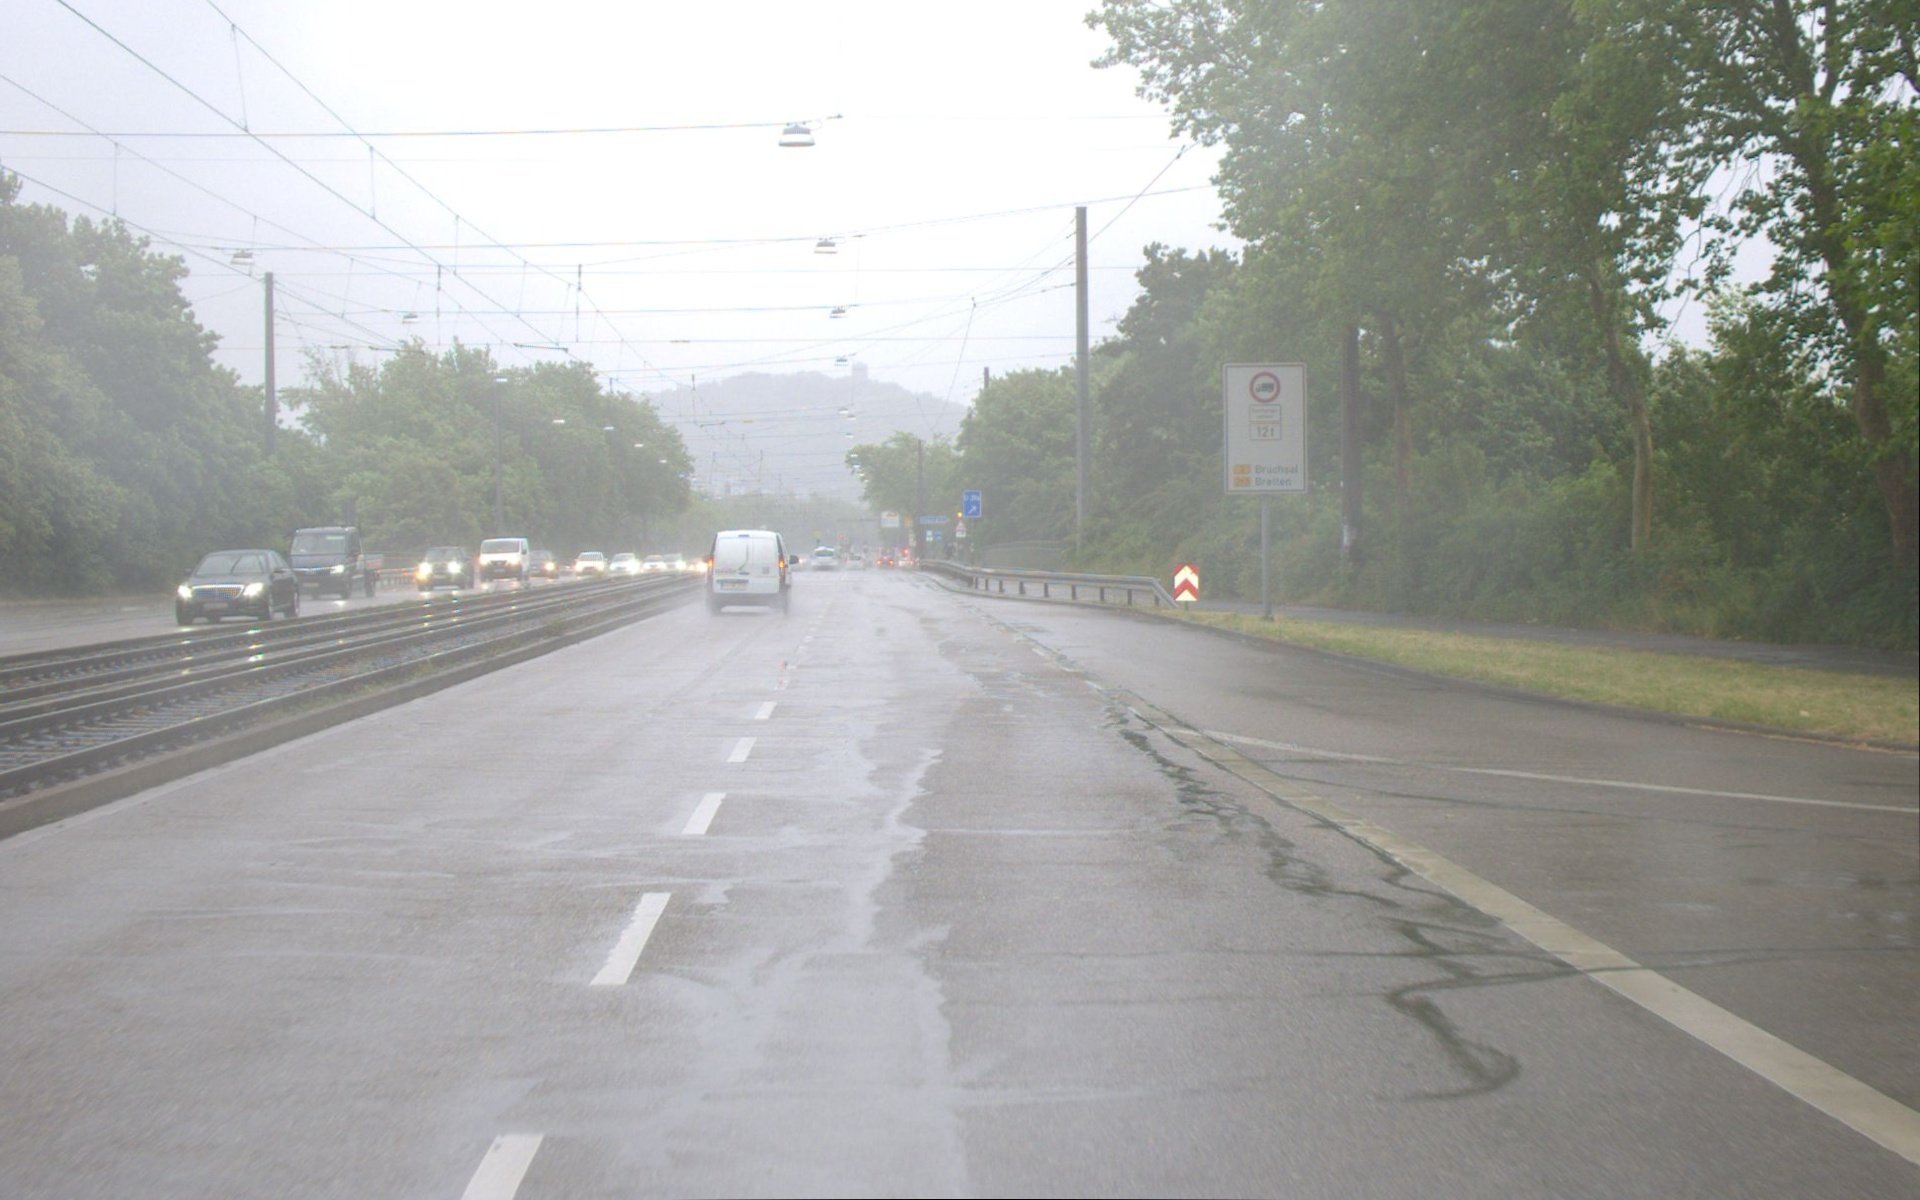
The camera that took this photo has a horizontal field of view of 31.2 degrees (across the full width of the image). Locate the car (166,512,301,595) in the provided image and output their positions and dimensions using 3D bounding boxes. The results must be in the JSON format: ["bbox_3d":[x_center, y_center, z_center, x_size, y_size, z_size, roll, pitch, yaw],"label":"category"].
[{"bbox_3d":[-15.156,-1.011,71.991,1.776,1.579,5.682,1,2,-2],"label":"car"}]

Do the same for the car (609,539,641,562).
[{"bbox_3d":[-22.518,-3.359,231.372,1.797,1.448,4.195,1,2,-1],"label":"car"}]

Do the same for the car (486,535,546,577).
[{"bbox_3d":[-20.015,-2.010,155.187,2.040,1.769,4.986,1,2,0],"label":"car"}]

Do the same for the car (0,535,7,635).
[{"bbox_3d":[-17.375,-0.174,56.618,1.819,1.700,6.106,1,2,-2],"label":"car"}]

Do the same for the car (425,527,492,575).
[{"bbox_3d":[-19.179,-1.886,131.504,1.841,1.711,4.163,1,2,1],"label":"car"}]

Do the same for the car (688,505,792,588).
[{"bbox_3d":[-4.709,-1.166,74.153,1.989,1.678,3.740,1,2,0],"label":"car"}]

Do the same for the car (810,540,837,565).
[{"bbox_3d":[-8.894,-3.091,224.487,1.743,1.503,3.700,1,2,-2],"label":"car"}]

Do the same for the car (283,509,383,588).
[{"bbox_3d":[-20.090,-1.698,110.415,2.099,2.335,6.991,1,2,-2],"label":"car"}]
